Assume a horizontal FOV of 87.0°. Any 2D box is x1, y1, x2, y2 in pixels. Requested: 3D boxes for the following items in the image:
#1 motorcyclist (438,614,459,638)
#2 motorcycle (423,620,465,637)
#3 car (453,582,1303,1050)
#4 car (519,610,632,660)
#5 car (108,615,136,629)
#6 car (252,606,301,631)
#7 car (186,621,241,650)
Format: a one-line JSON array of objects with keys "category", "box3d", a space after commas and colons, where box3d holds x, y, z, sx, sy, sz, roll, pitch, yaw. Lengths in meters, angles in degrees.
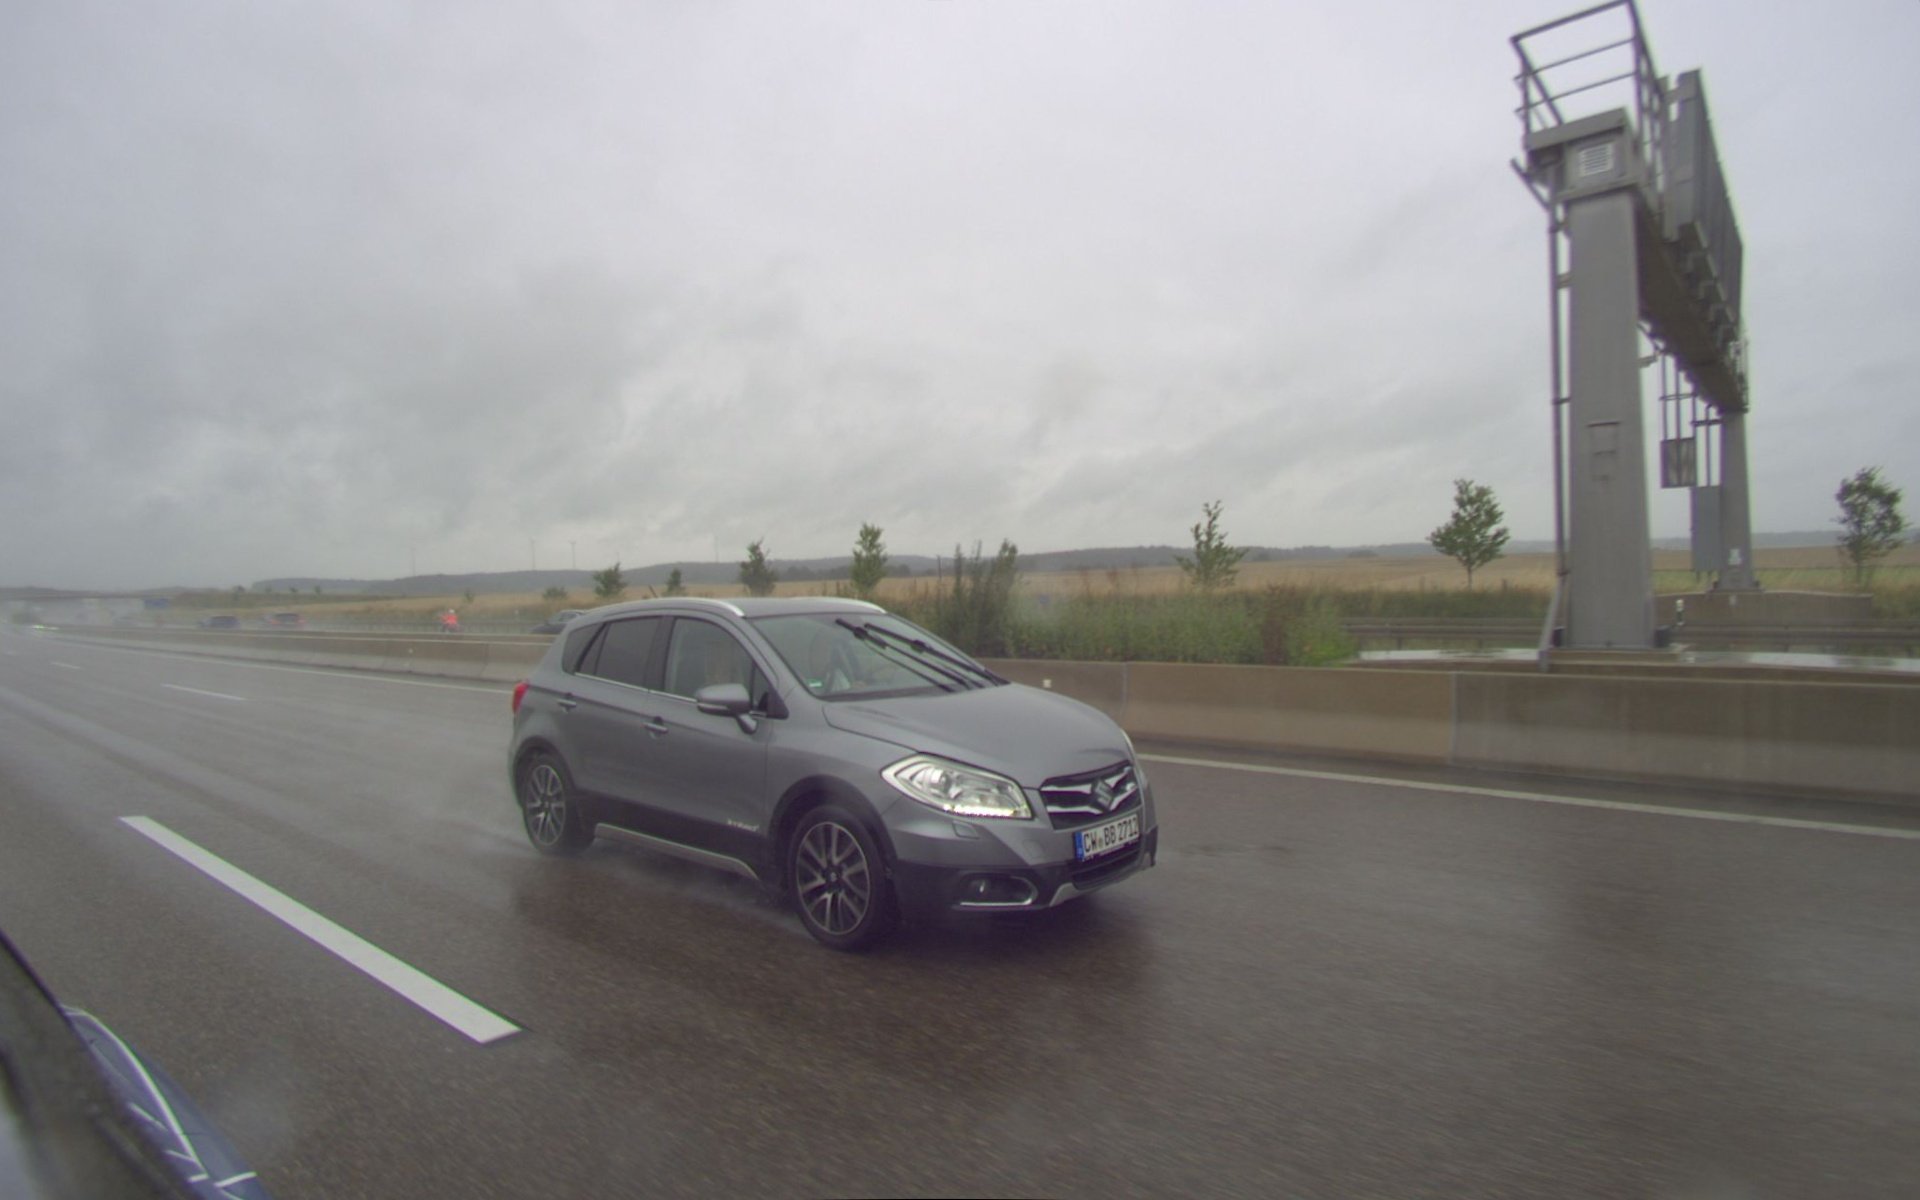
[{"category": "motorcyclist", "box3d": [-28.104, 1.422, 55.606, 0.940, 1.318, 0.741, -1, 0, 41]}, {"category": "motorcycle", "box3d": [-28.691, 1.562, 56.218, 3.544, 0.920, 0.909, -1, 0, 43]}, {"category": "car", "box3d": [-0.806, 0.726, 5.549, 4.753, 1.524, 1.827, -1, 0, 41]}, {"category": "car", "box3d": [-14.056, 1.240, 36.905, 4.442, 1.696, 1.973, -1, 0, 41]}, {"category": "car", "box3d": [-93.531, 2.458, 112.981, 4.000, 1.564, 1.972, -1, 0, 43]}, {"category": "car", "box3d": [-43.043, 1.182, 63.679, 4.000, 1.497, 1.676, -1, 0, 43]}, {"category": "car", "box3d": [-44.468, 2.085, 60.275, 4.084, 1.586, 1.800, -1, -1, 41]}]
